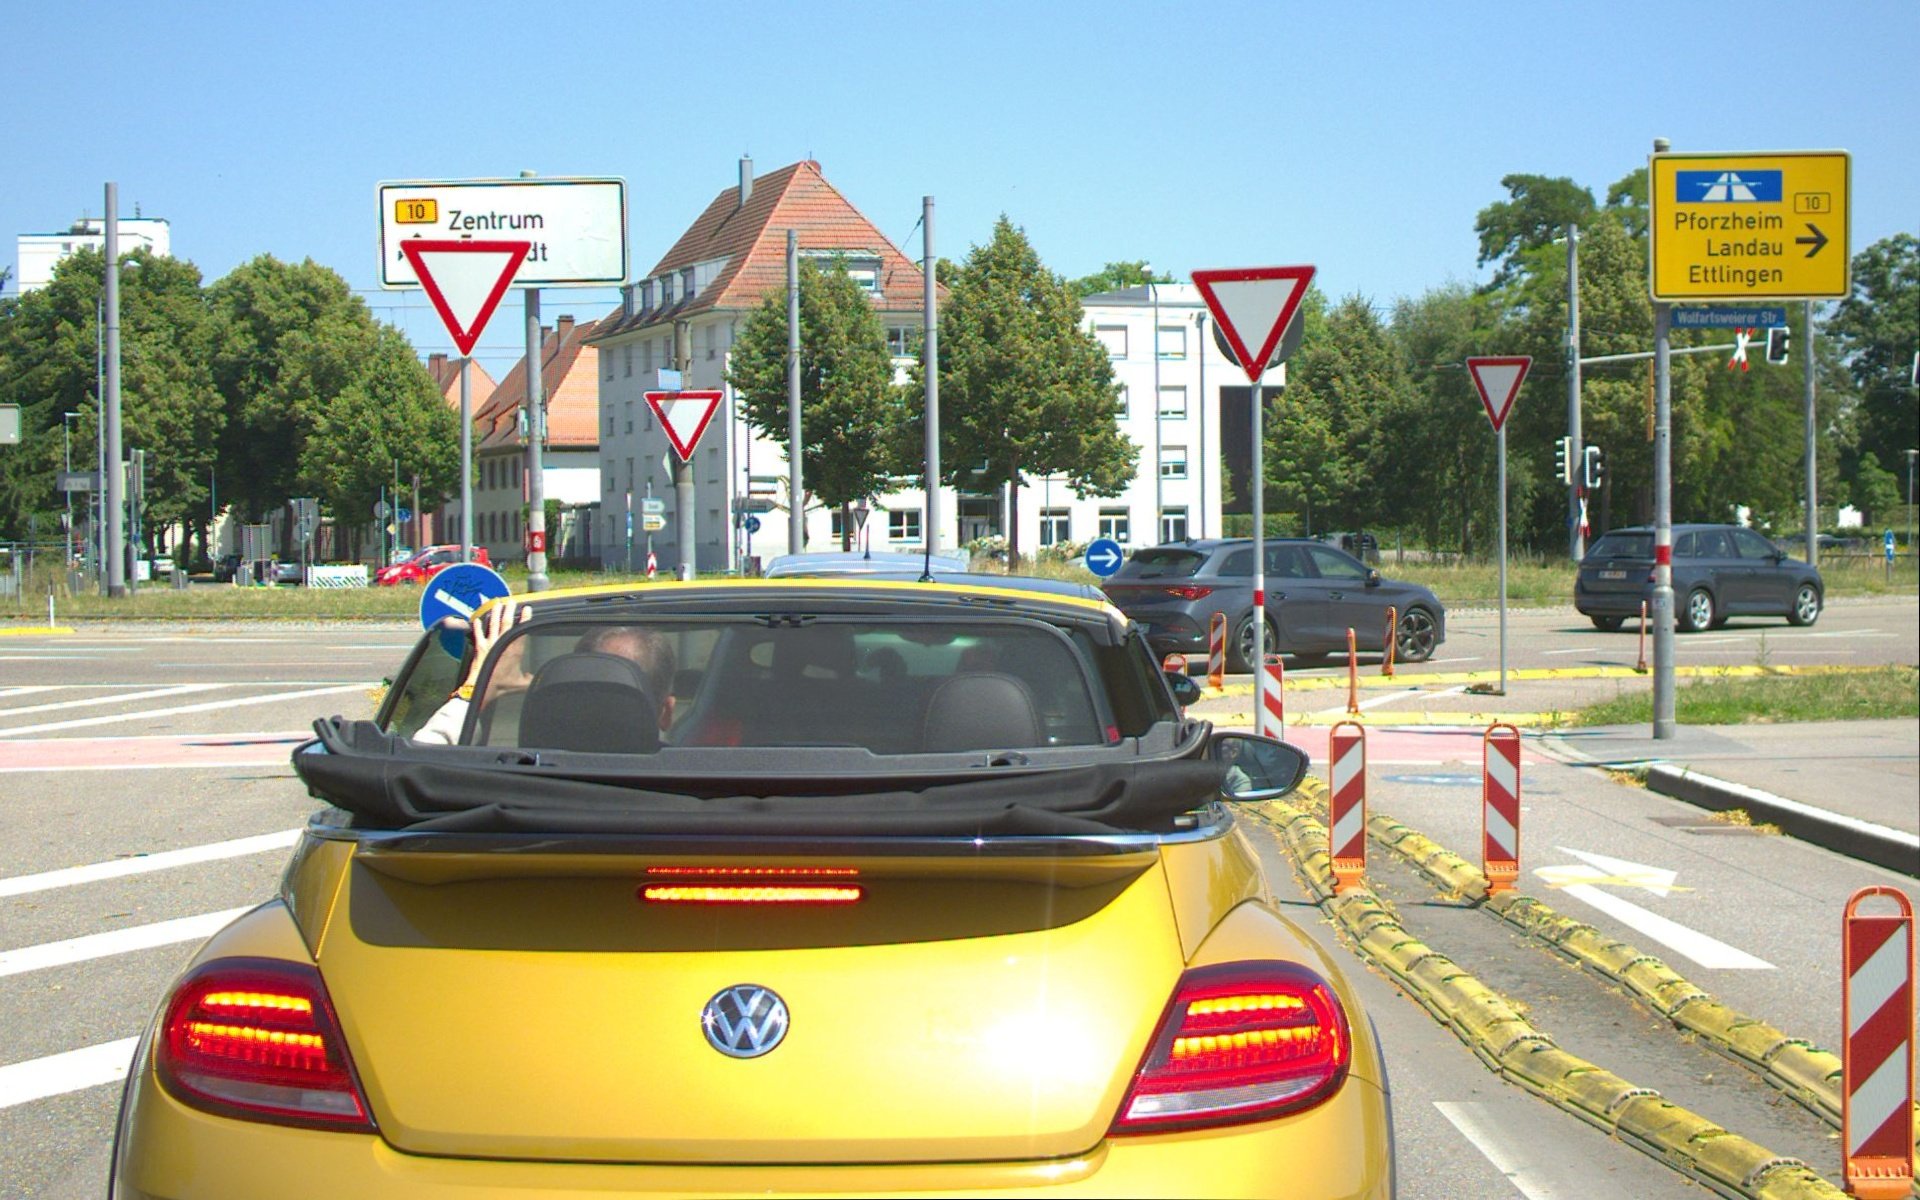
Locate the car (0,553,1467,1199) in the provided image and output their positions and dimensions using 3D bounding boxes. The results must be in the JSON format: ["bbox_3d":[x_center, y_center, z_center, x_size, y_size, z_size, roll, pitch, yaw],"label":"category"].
[{"bbox_3d":[-0.315,0.673,6.205,1.765,1.476,4.258,1,1,-1],"label":"car"}]

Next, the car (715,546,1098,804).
[{"bbox_3d":[-0.387,0.390,20.825,2.065,1.377,4.258,1,1,-3],"label":"car"}]

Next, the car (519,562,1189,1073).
[{"bbox_3d":[-0.319,0.584,11.731,1.851,1.361,4.258,-1,1,-1],"label":"car"}]

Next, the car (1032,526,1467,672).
[{"bbox_3d":[3.240,-0.049,38.092,4.529,1.476,2.071,-2,1,-36],"label":"car"}]

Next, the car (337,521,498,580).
[{"bbox_3d":[-15.951,-1.459,101.143,4.331,1.648,1.901,1,1,-23],"label":"car"}]

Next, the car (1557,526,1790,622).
[{"bbox_3d":[9.689,-0.341,46.629,3.208,1.254,1.438,0,1,-41],"label":"car"}]
